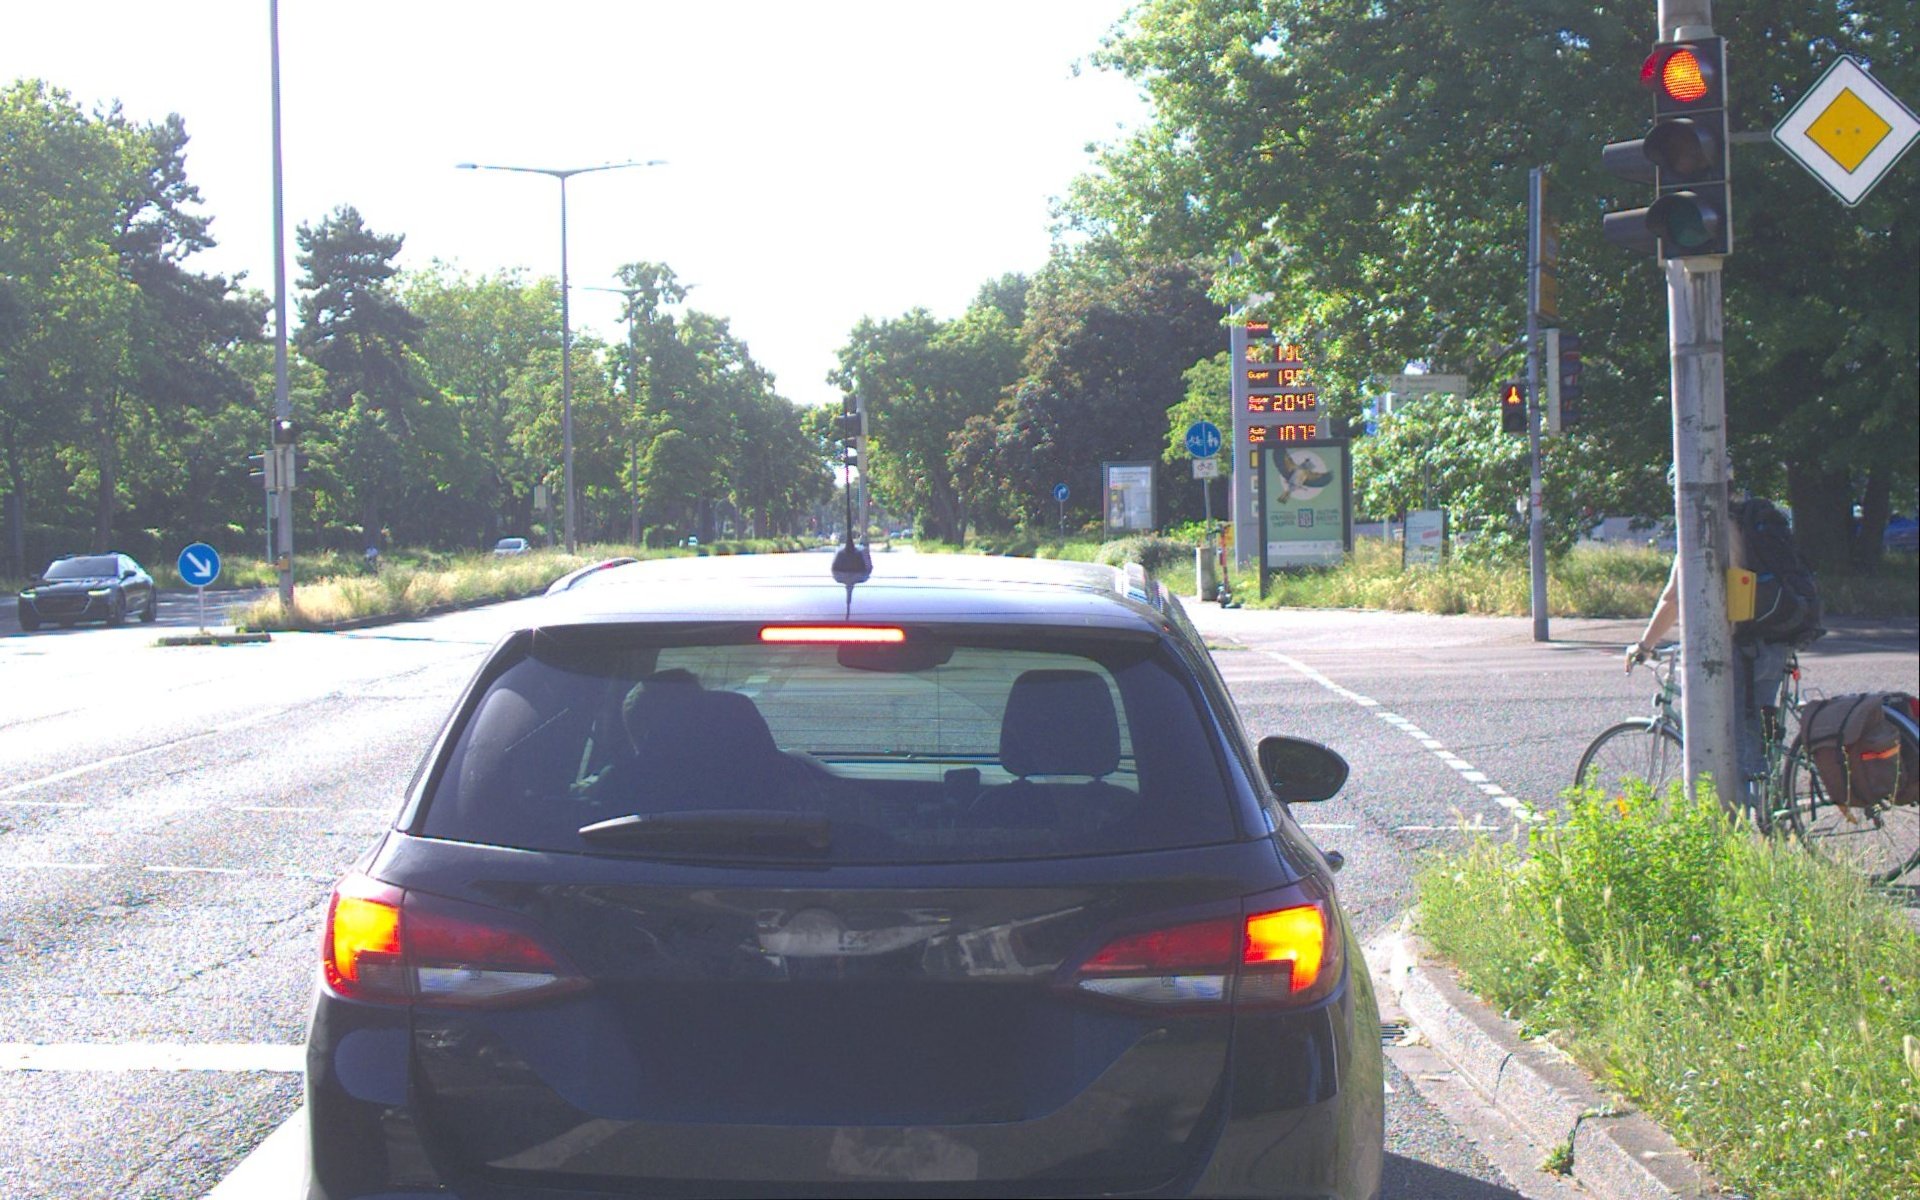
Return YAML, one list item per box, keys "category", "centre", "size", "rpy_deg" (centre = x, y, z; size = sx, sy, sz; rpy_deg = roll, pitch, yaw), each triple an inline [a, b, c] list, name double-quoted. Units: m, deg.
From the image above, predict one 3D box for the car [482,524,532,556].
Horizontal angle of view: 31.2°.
- category: "car"
  centre: [-22.805, -3.045, 173.037]
  size: [1.993, 1.525, 4.000]
  rpy_deg: [-2, 1, -1]

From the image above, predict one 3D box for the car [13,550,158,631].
- category: "car"
  centre: [-17.009, -0.218, 67.049]
  size: [1.776, 1.458, 4.165]
  rpy_deg: [-1, 1, -1]

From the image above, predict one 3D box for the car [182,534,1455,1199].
- category: "car"
  centre: [-0.220, 0.632, 6.861]
  size: [1.756, 1.490, 4.207]
  rpy_deg: [0, 1, -1]

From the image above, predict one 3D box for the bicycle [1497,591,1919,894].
- category: "bicycle"
  centre: [2.991, 0.547, 13.347]
  size: [0.536, 1.094, 1.775]
  rpy_deg: [-3, 0, -44]

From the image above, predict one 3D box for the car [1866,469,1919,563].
- category: "car"
  centre: [17.102, -1.427, 56.732]
  size: [3.887, 1.512, 1.746]
  rpy_deg: [-2, 1, -23]

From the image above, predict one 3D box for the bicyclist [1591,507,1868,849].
- category: "bicyclist"
  centre: [2.983, 0.302, 13.345]
  size: [0.536, 1.272, 0.829]
  rpy_deg: [-3, 0, -44]

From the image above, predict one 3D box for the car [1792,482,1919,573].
- category: "car"
  centre: [16.626, -1.285, 59.817]
  size: [3.887, 1.512, 1.746]
  rpy_deg: [-2, 1, -23]
